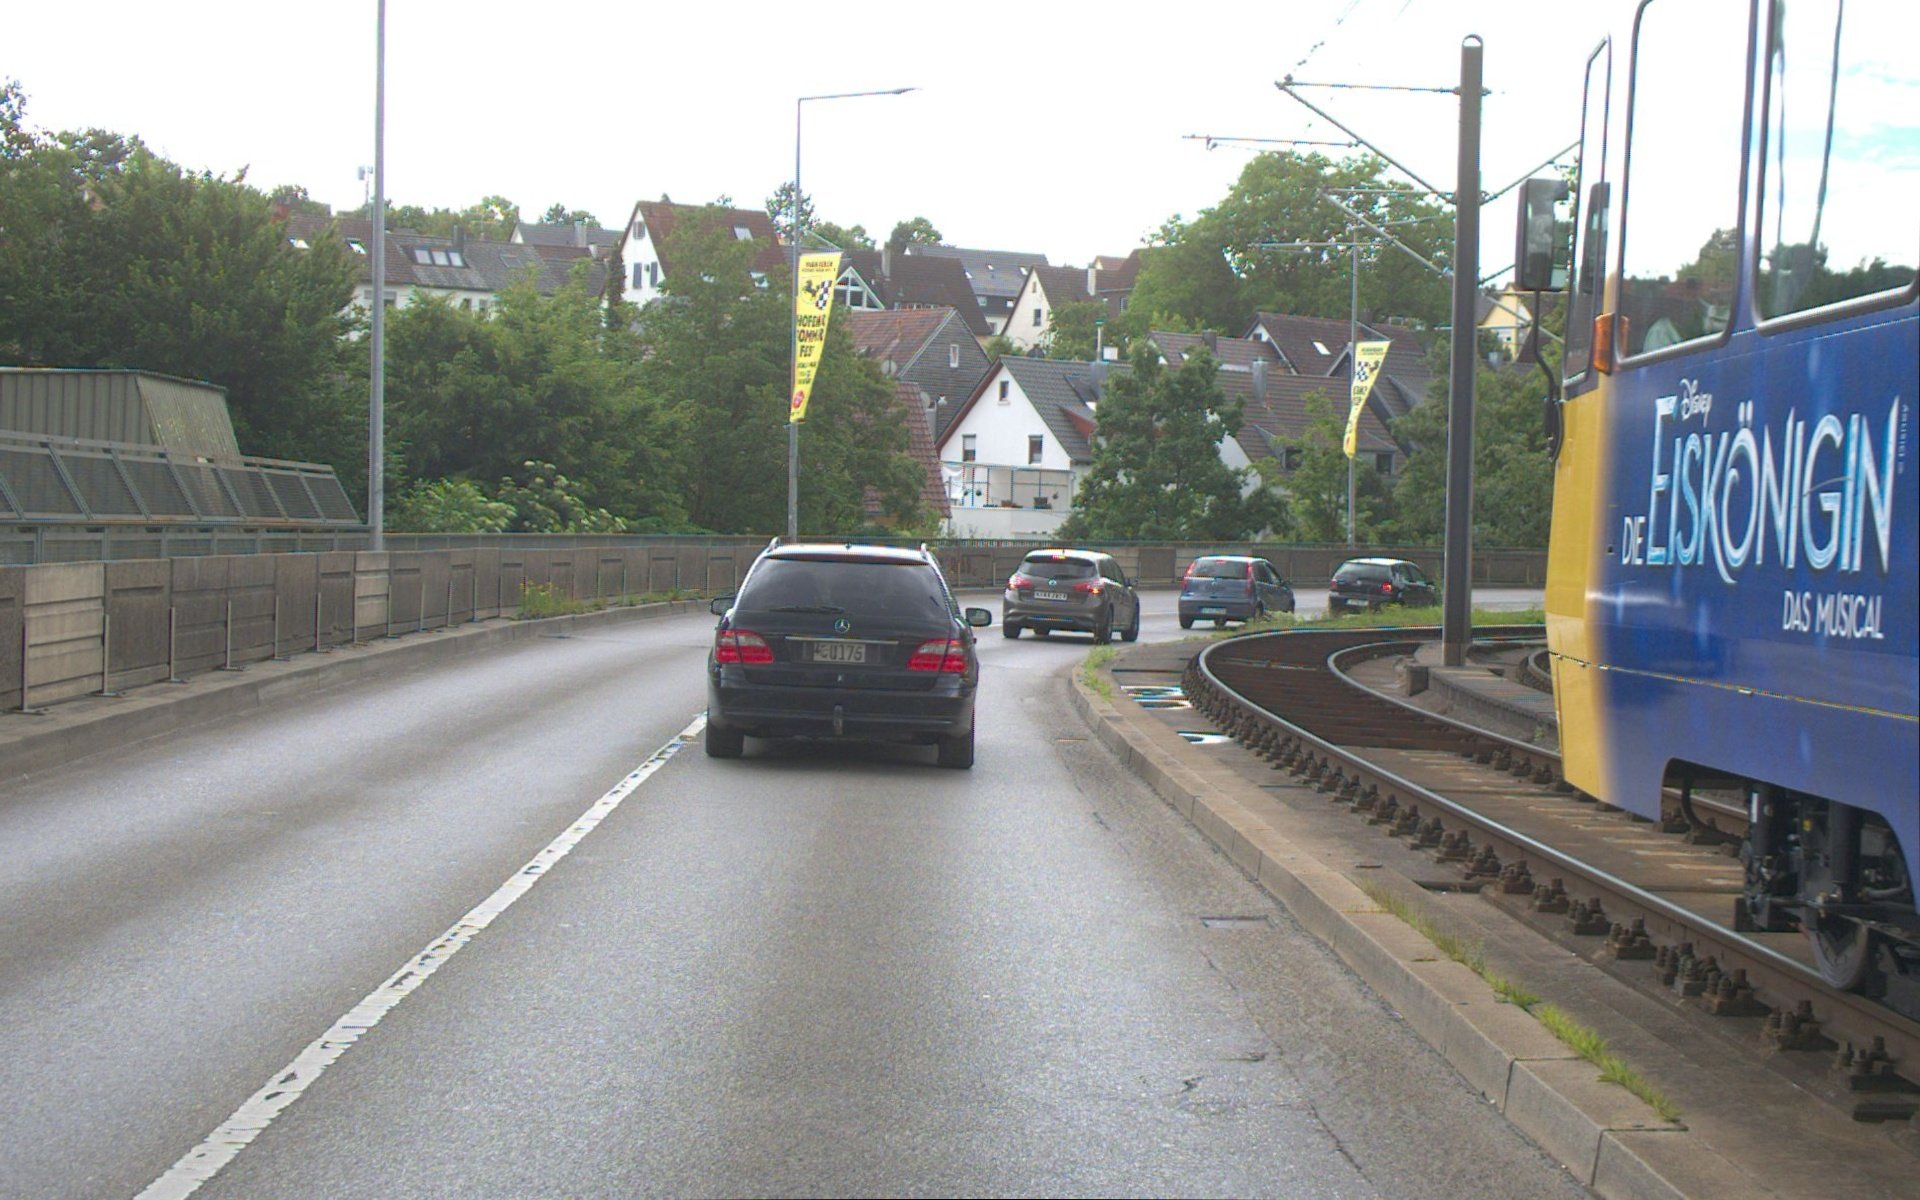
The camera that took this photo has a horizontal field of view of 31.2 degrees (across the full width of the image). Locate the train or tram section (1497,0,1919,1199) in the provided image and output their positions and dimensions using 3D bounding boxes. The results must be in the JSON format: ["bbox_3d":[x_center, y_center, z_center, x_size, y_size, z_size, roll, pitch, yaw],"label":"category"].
[{"bbox_3d":[3.450,-0.335,2.399,2.793,3.751,19.894,2,1,0],"label":"train or tram section"}]

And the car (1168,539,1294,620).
[{"bbox_3d":[5.556,-0.445,69.951,1.794,1.550,4.382,1,1,15],"label":"car"}]

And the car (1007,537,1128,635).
[{"bbox_3d":[1.851,-0.268,58.022,1.771,1.550,4.240,0,2,5],"label":"car"}]

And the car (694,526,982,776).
[{"bbox_3d":[-0.844,0.279,24.057,1.759,1.510,4.443,3,1,-2],"label":"car"}]

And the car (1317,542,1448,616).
[{"bbox_3d":[9.586,-0.472,77.781,1.772,1.550,4.235,2,1,23],"label":"car"}]
